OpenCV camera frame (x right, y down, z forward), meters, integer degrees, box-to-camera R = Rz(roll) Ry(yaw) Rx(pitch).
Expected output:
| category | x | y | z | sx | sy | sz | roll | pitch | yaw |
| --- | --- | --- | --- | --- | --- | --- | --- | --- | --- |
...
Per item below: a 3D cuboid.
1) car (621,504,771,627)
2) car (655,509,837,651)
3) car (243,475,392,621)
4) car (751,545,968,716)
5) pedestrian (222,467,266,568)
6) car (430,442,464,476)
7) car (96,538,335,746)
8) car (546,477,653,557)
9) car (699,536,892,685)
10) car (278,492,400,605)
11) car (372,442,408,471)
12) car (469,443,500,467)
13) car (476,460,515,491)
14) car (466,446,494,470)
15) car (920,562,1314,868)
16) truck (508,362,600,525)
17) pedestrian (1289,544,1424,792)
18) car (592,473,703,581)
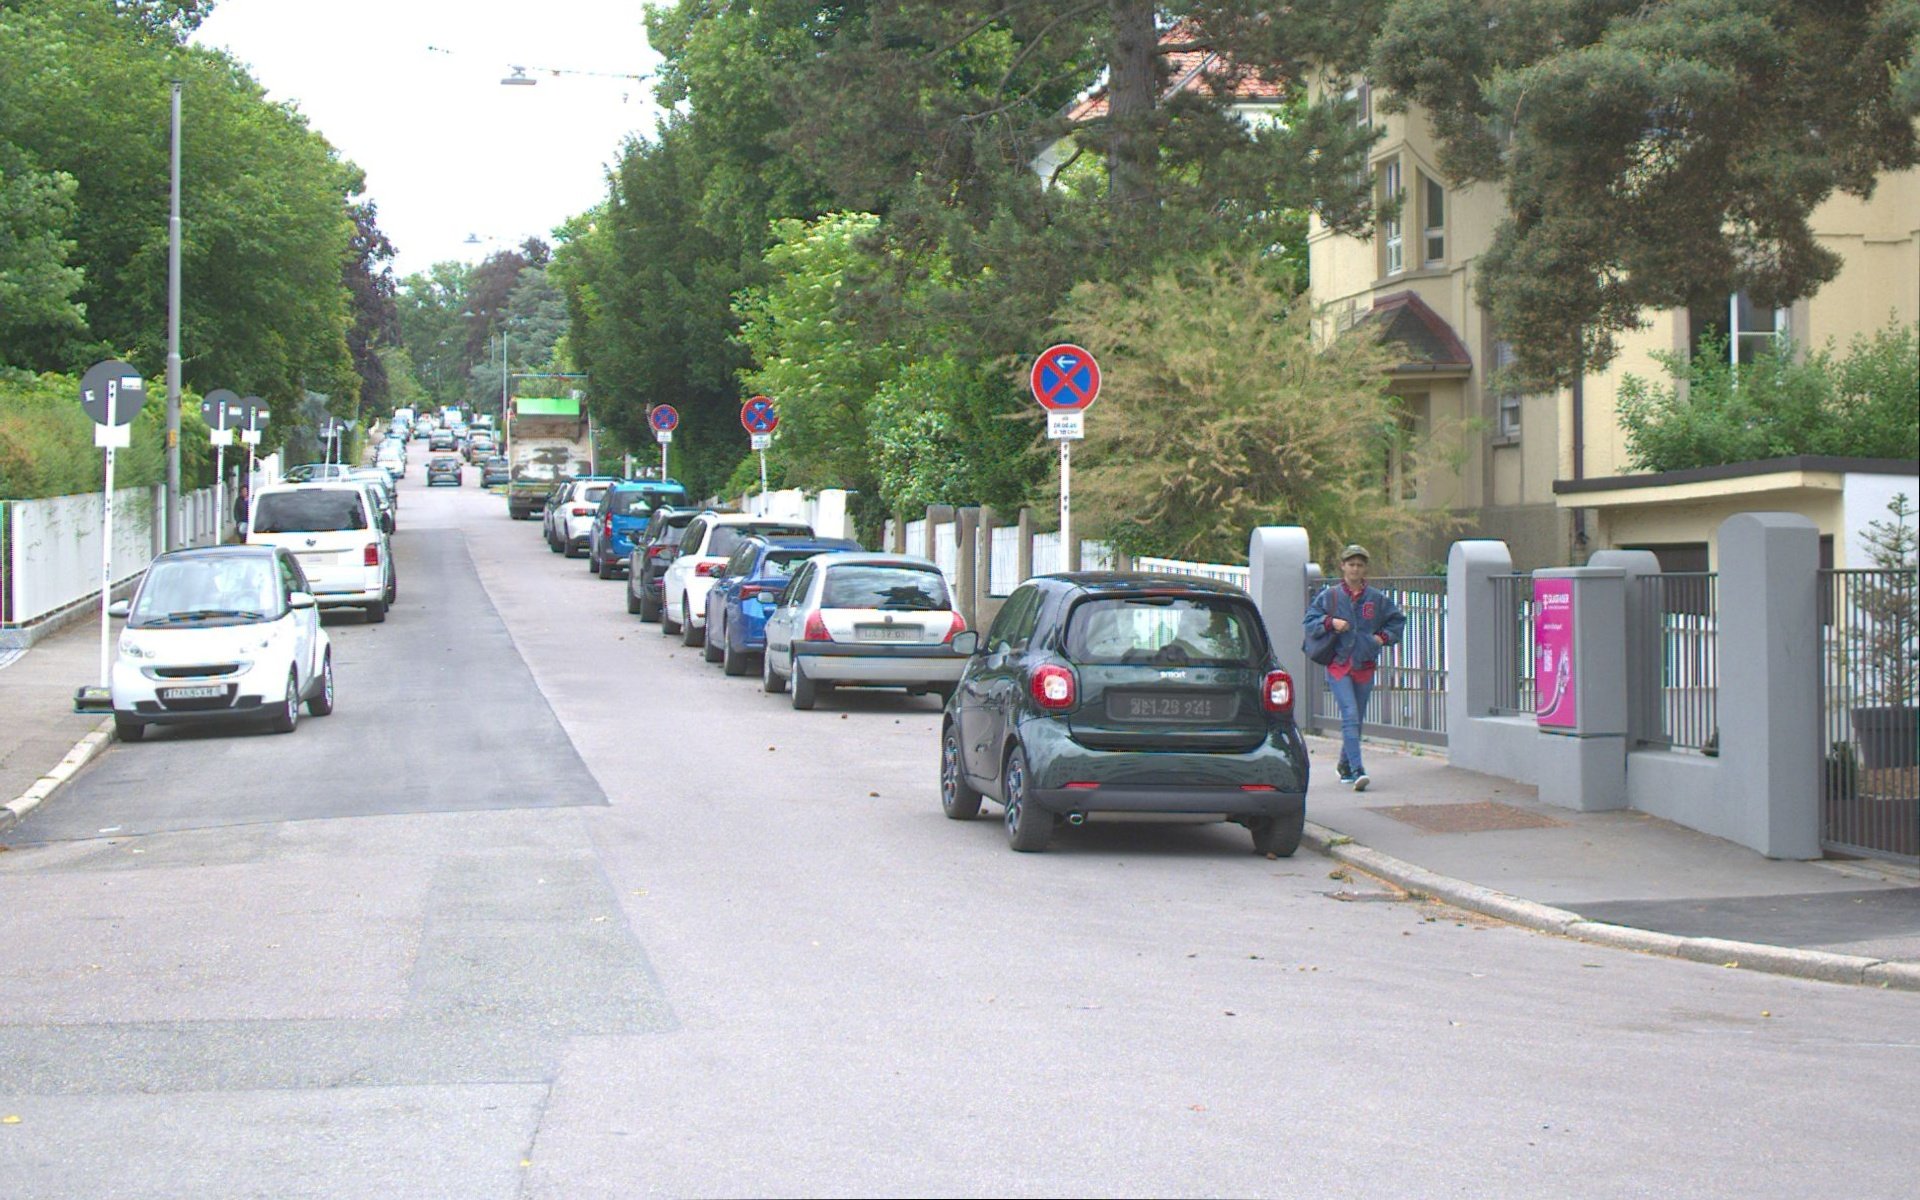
| category | x | y | z | sx | sy | sz | roll | pitch | yaw |
| --- | --- | --- | --- | --- | --- | --- | --- | --- | --- |
| car | -3.820 | -0.523 | 49.190 | 1.749 | 1.602 | 4.077 | 2 | 2 | -9 |
| car | -2.770 | -0.292 | 43.629 | 1.784 | 1.598 | 4.306 | 2 | 2 | -10 |
| car | -9.062 | -0.782 | 48.777 | 1.854 | 1.906 | 4.621 | -2 | 2 | -9 |
| car | -0.995 | 0.241 | 32.278 | 1.573 | 1.395 | 3.656 | 2 | 2 | -9 |
| pedestrian | -14.493 | -1.671 | 69.633 | 0.811 | 2.006 | 0.860 | 0 | 2 | -8 |
| car | -26.372 | -7.242 | 176.629 | 1.633 | 1.695 | 3.496 | 1 | 3 | -10 |
| car | -6.318 | 0.317 | 29.390 | 1.442 | 1.546 | 2.770 | -3 | 3 | -2 |
| car | -7.828 | -1.811 | 74.312 | 1.757 | 1.600 | 4.577 | 1 | 2 | -12 |
| car | -1.832 | 0.070 | 37.245 | 1.647 | 1.453 | 4.053 | 1 | 1 | -9 |
| car | -9.856 | -0.850 | 54.382 | 1.790 | 1.617 | 4.345 | -1 | 3 | -11 |
| car | -31.803 | -7.990 | 191.872 | 1.711 | 1.580 | 4.001 | 0 | 2 | -6 |
| car | -29.953 | -9.144 | 216.527 | 1.809 | 1.331 | 3.634 | 1 | 3 | -10 |
| car | -23.425 | -6.283 | 173.403 | 1.778 | 1.484 | 4.002 | 0 | 2 | -10 |
| car | -31.446 | -9.333 | 225.229 | 1.789 | 1.524 | 3.735 | 0 | 3 | -7 |
| car | 0.840 | 0.613 | 19.974 | 1.571 | 1.526 | 2.869 | 2 | 2 | -11 |
| truck | -12.402 | -4.755 | 104.636 | 2.524 | 4.732 | 7.190 | 1 | 2 | -8 |
| pedestrian | 2.602 | 0.433 | 22.636 | 0.681 | 1.571 | 0.906 | -2 | 0 | -3 |
| car | -5.809 | -1.379 | 63.582 | 1.682 | 1.823 | 4.158 | 2 | 3 | -10 |
